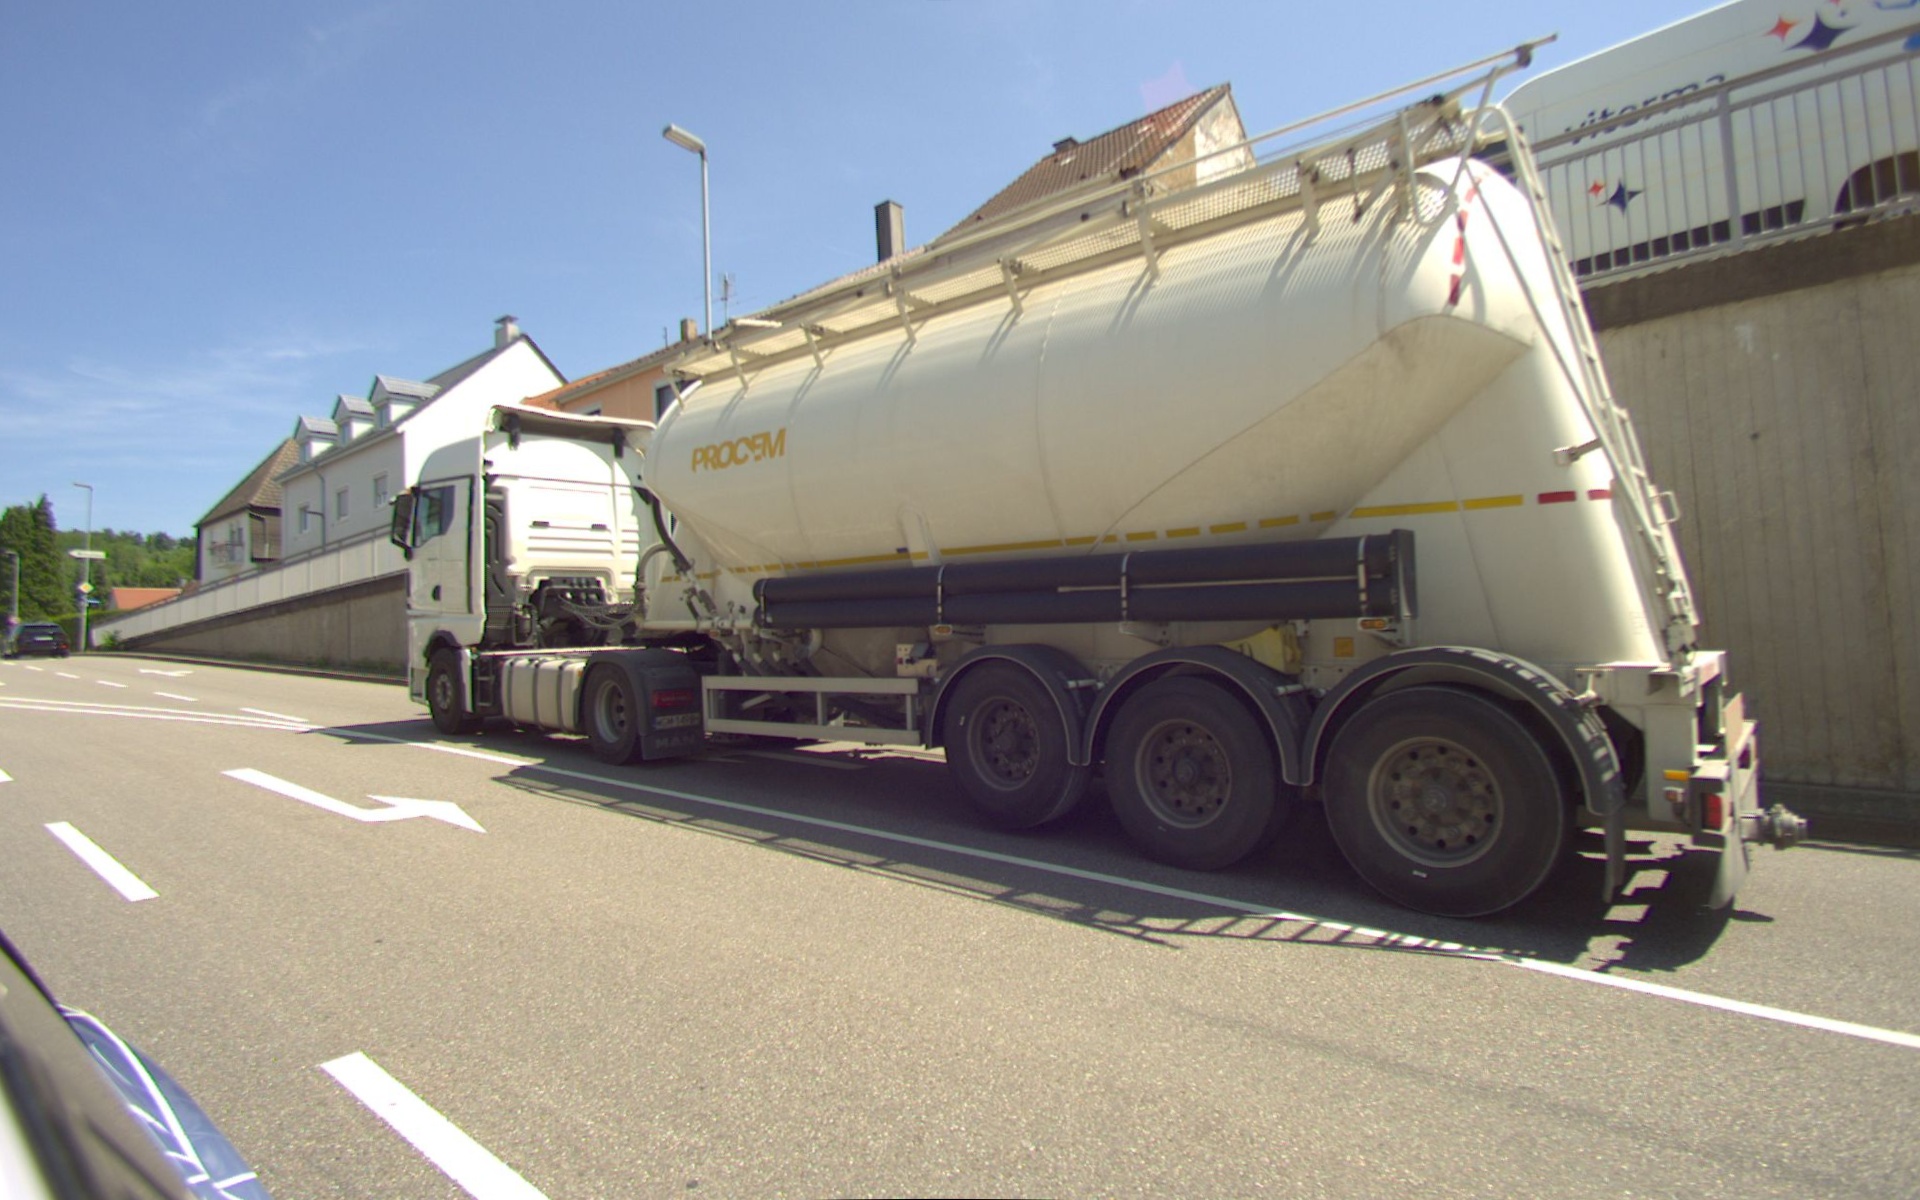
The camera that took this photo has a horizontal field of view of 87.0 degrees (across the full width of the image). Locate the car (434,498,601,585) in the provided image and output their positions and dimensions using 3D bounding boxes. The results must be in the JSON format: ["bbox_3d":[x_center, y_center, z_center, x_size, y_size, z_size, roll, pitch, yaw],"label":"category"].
[{"bbox_3d":[-10.425,-1.287,23.708,4.305,1.473,1.795,-6,-3,39],"label":"car"}]

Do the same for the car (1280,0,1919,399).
[{"bbox_3d":[6.011,-3.731,8.812,5.656,2.556,2.044,-6,-3,40],"label":"car"}]

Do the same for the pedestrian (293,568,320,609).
[{"bbox_3d":[-28.424,-0.513,44.030,0.855,1.742,0.720,-2,-1,37],"label":"pedestrian"}]

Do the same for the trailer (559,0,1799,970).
[{"bbox_3d":[0.375,-0.547,7.868,9.343,3.994,2.582,-1,-1,42],"label":"trailer"}]

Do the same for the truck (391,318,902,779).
[{"bbox_3d":[-3.936,-0.384,11.708,6.577,3.890,2.634,-1,-1,42],"label":"truck"}]

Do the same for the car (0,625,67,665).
[{"bbox_3d":[-37.765,1.796,41.120,4.367,1.500,1.742,-2,-1,42],"label":"car"}]
